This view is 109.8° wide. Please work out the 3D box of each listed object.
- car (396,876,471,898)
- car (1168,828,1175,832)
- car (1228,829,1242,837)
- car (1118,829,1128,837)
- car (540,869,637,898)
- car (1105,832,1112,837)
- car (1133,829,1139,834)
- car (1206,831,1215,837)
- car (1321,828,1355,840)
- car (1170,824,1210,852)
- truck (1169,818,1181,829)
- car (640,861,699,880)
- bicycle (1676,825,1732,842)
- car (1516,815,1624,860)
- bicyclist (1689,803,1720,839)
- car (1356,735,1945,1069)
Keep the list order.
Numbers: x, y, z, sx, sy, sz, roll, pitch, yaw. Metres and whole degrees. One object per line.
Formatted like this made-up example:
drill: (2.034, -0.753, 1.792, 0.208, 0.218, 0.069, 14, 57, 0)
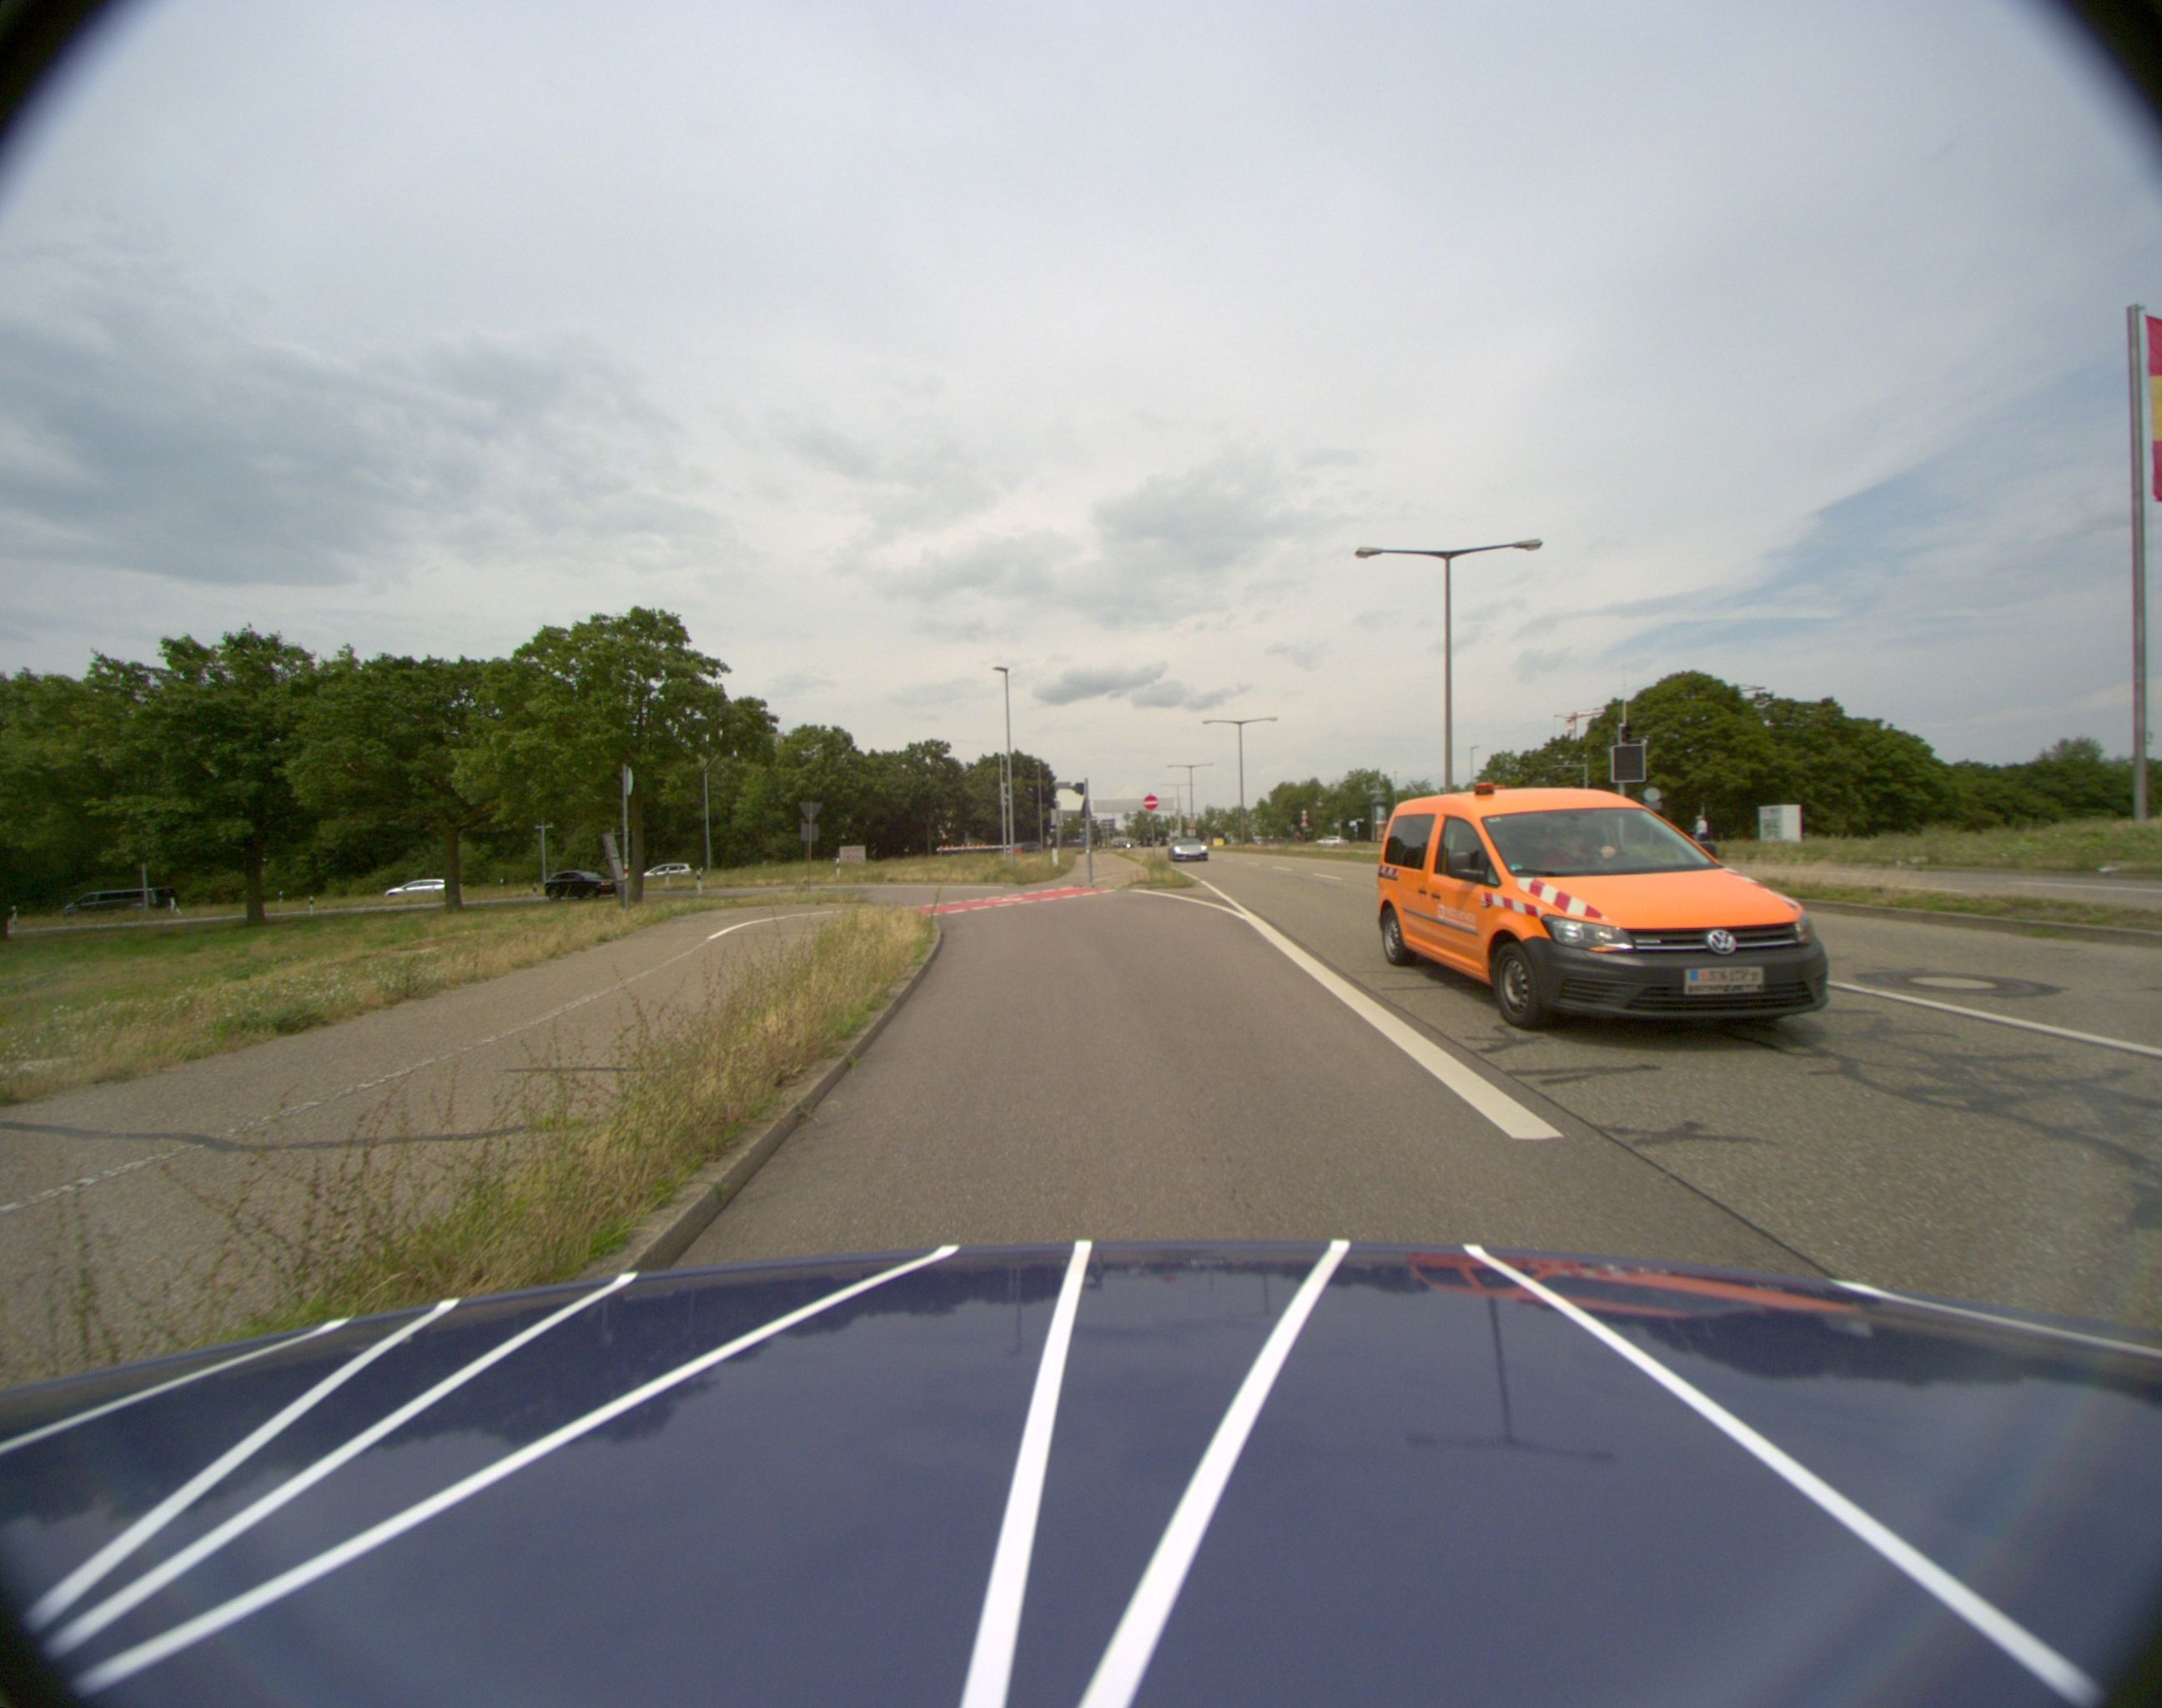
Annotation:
car: (-46.394, 2.364, 54.514, 3.683, 1.265, 1.678, -3, 2, -8)
car: (25.850, -6.829, 216.321, 1.695, 1.230, 3.469, -3, 2, 3)
car: (26.408, -3.607, 130.367, 1.695, 1.230, 3.469, -3, 2, 3)
car: (6.540, -3.255, 118.412, 1.558, 1.230, 3.469, -3, 2, 3)
car: (-26.372, 1.579, 40.727, 4.235, 1.276, 1.804, -2, 2, 12)
car: (6.562, -4.731, 182.063, 1.695, 1.230, 3.469, -3, 2, 3)
car: (15.288, -6.340, 212.117, 1.695, 1.230, 3.469, -3, 2, 3)
car: (26.601, -4.057, 156.186, 1.468, 1.230, 3.469, -3, 2, 3)
car: (32.727, -2.535, 96.710, 3.630, 1.456, 1.699, -1, 2, 44)
car: (5.961, -0.912, 41.880, 1.695, 1.404, 3.683, -3, 2, 2)
truck: (18.097, -5.940, 146.463, 1.998, 2.002, 4.000, -2, 2, 3)
car: (-31.234, 1.222, 57.803, 3.686, 1.124, 1.676, -4, 2, -20)
bicycle: (28.254, -0.950, 34.509, 0.820, 0.730, 2.222, -2, 2, 5)
car: (17.997, -0.613, 28.168, 1.695, 1.485, 3.683, -3, 2, 3)
bicyclist: (28.249, -1.510, 34.434, 0.820, 1.583, 0.737, -2, 2, 5)
car: (4.036, 0.227, 6.534, 1.892, 1.825, 4.430, -3, 2, 3)
